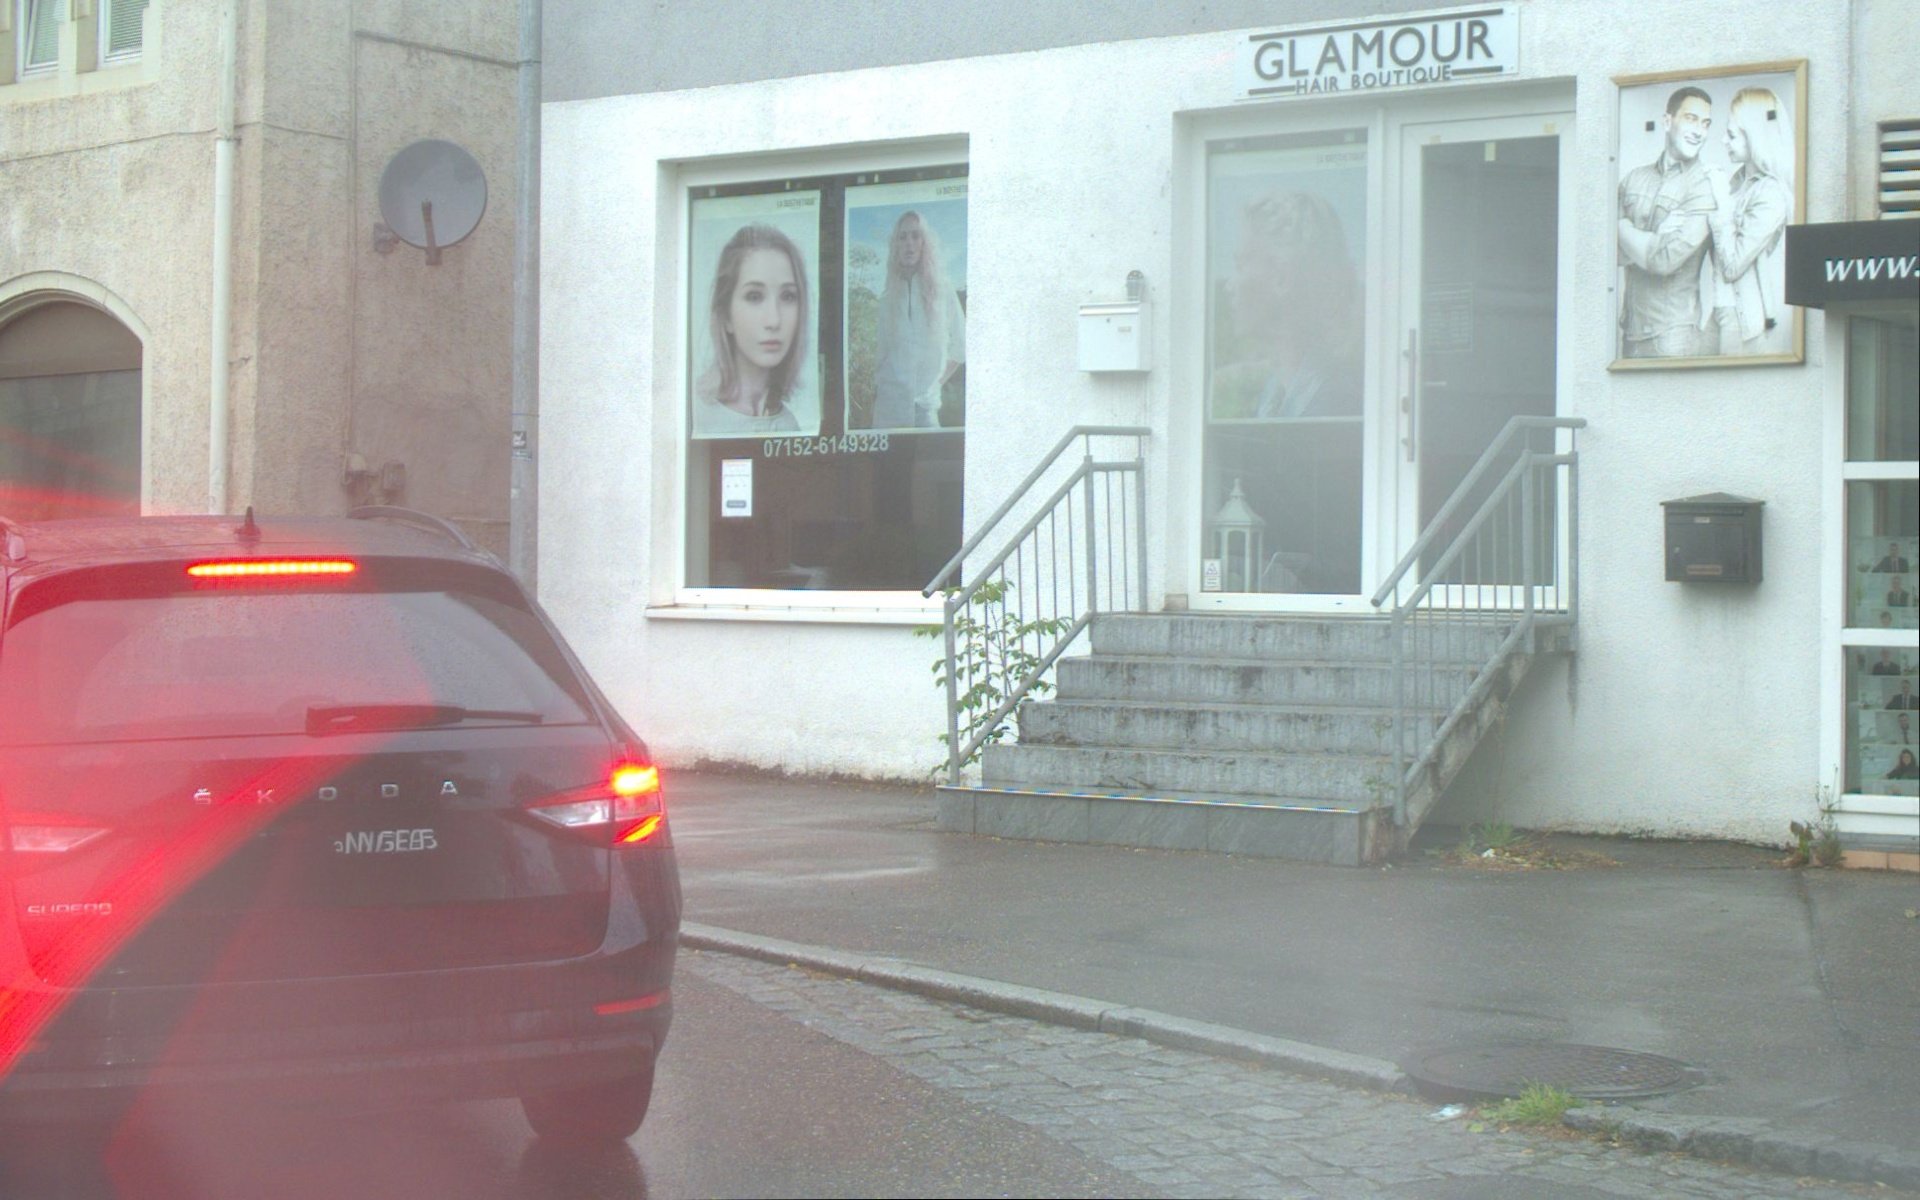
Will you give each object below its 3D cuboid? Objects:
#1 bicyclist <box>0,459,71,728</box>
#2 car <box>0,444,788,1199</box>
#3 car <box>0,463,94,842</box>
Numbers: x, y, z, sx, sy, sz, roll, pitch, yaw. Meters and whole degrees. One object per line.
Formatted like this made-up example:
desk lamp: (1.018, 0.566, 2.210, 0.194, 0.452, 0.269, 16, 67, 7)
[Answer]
bicyclist: (-5.690, -0.057, 19.689, 1.029, 1.512, 0.684, 3, 2, 41)
car: (-2.048, 0.370, 8.713, 1.886, 1.443, 4.358, 1, 1, -22)
car: (-5.325, 0.143, 14.640, 1.856, 1.468, 4.000, 0, 2, -35)
